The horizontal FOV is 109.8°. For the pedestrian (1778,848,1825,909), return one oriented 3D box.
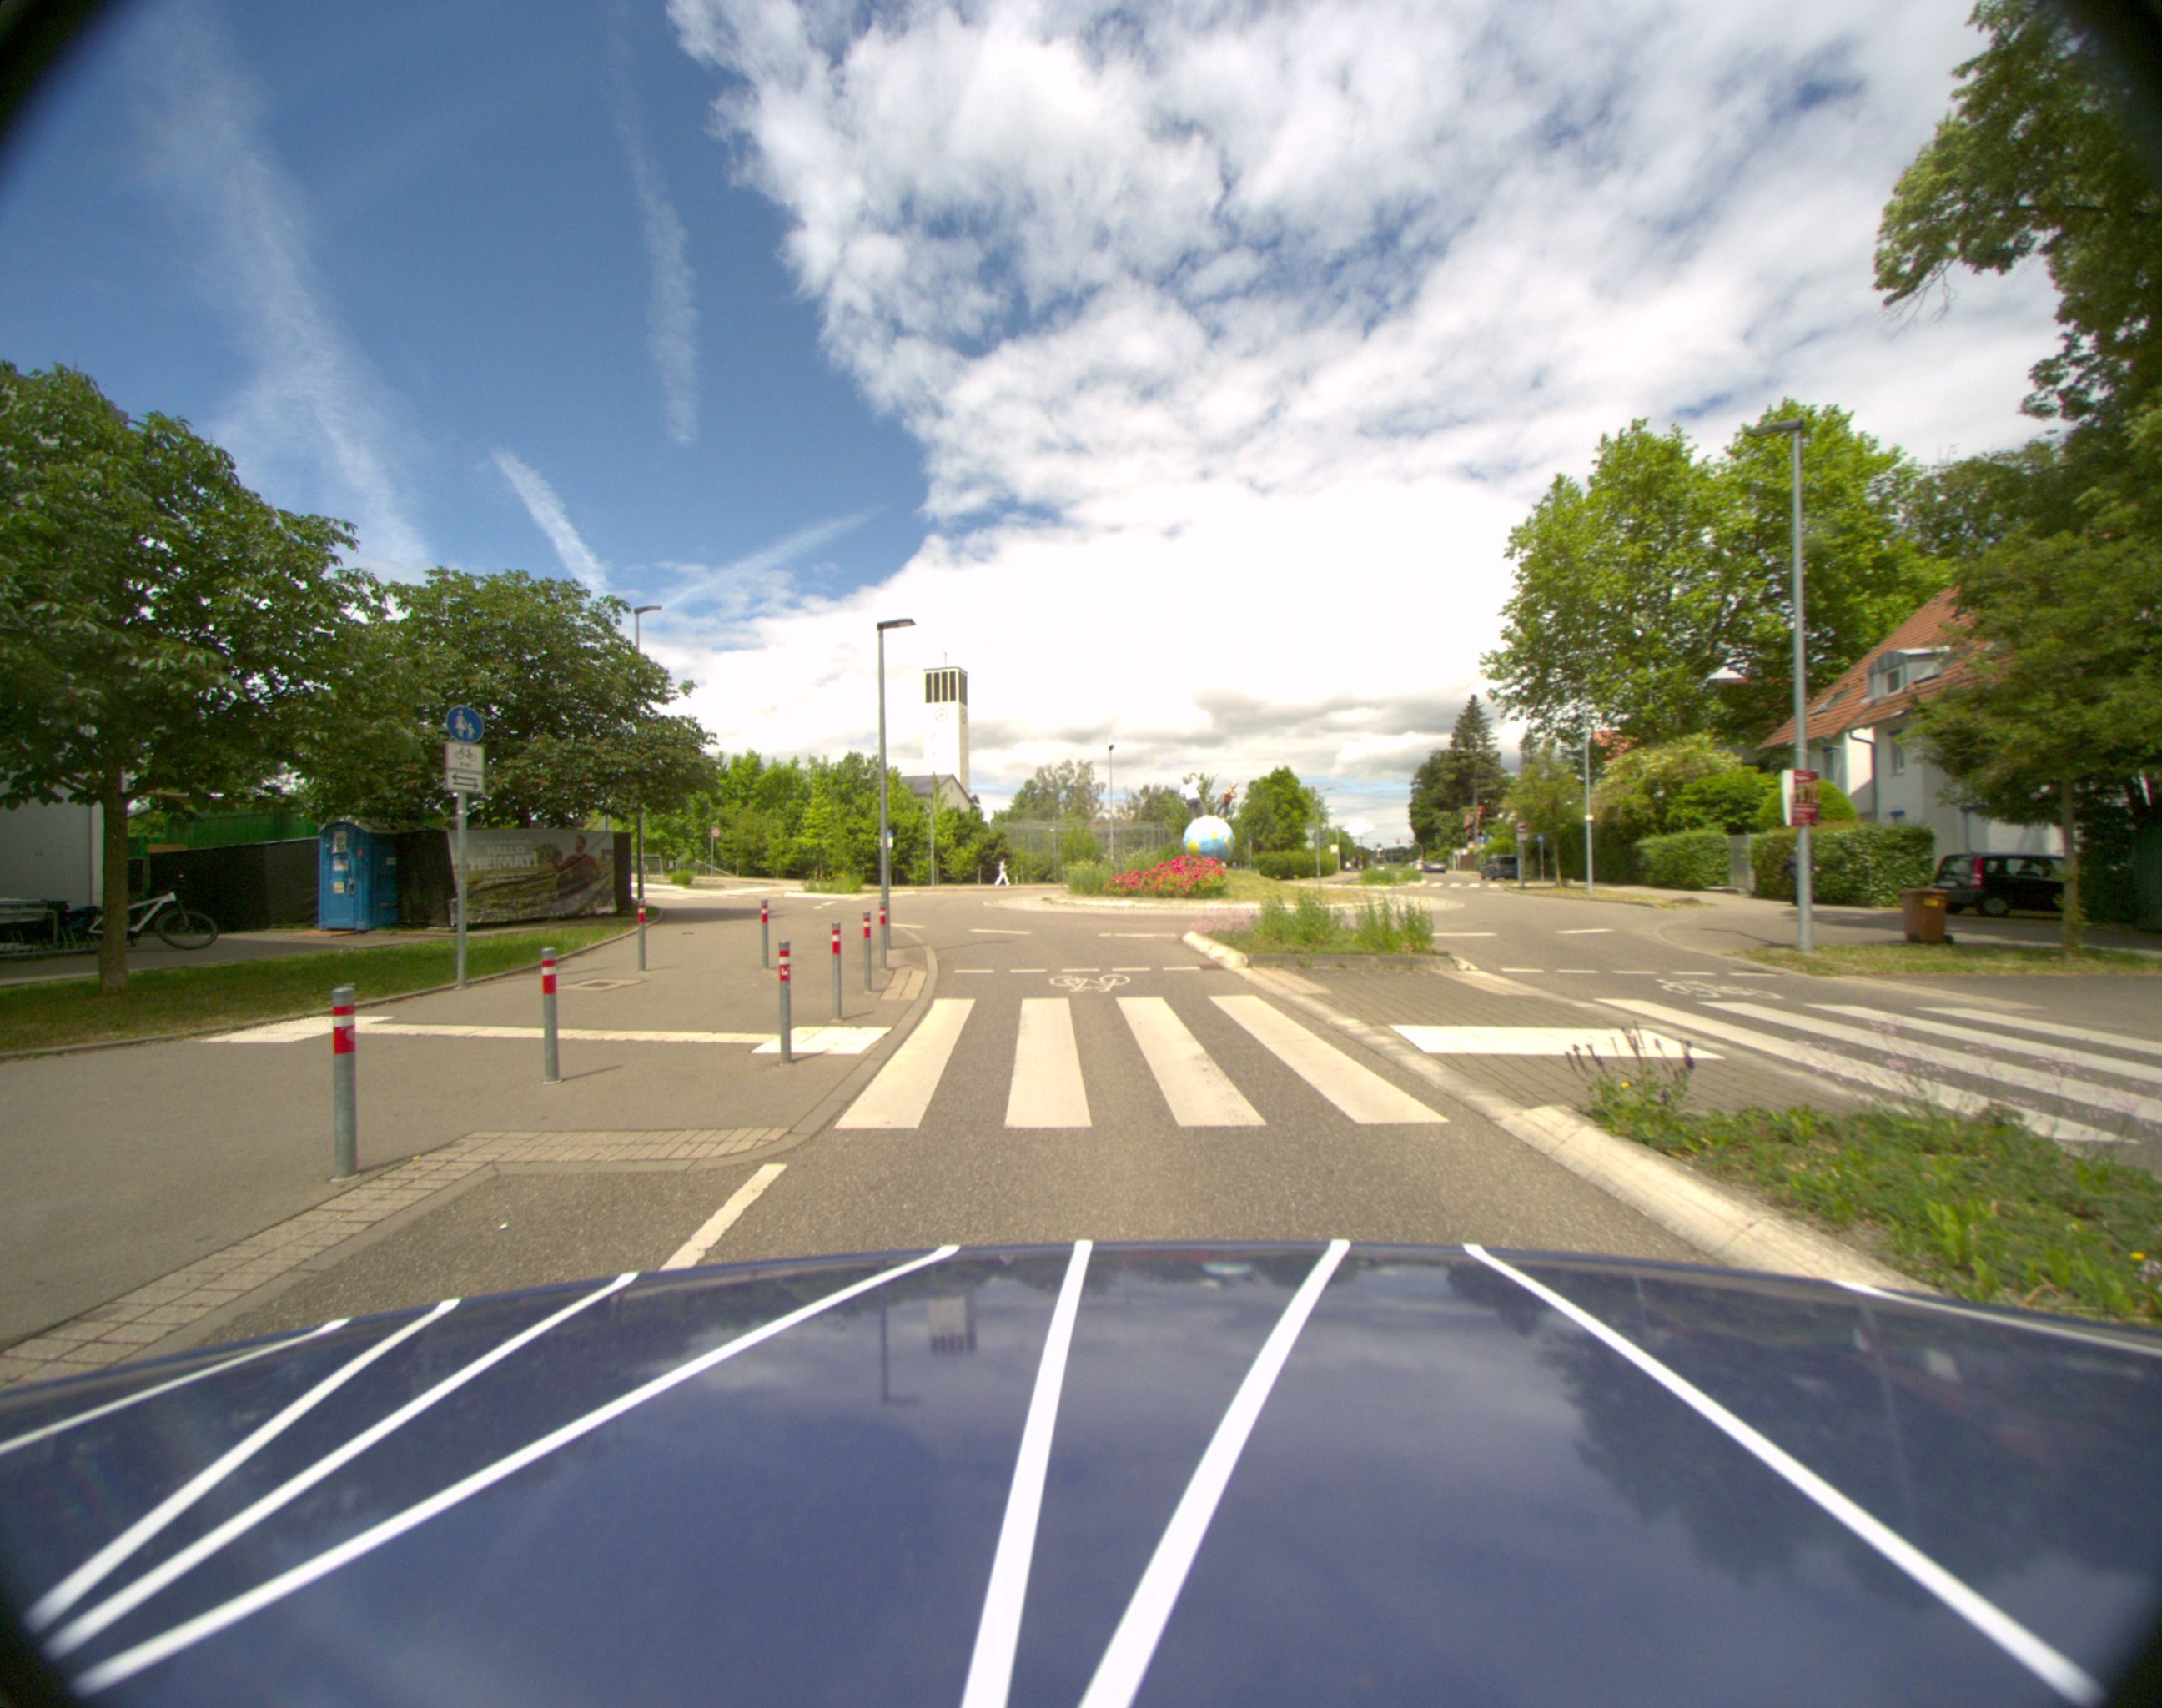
[{"bbox_3d":[20.243,0.681,21.364,0.744,1.681,0.695,-2,1,22],"label":"pedestrian"}]

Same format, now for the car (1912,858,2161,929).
[{"bbox_3d":[22.159,0.851,17.566,3.570,1.389,1.668,2,2,21],"label":"car"}]

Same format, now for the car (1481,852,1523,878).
[{"bbox_3d":[28.559,0.715,51.652,1.678,1.652,4.005,-1,0,17],"label":"car"}]

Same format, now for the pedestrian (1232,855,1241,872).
[{"bbox_3d":[14.223,0.902,69.428,0.764,1.548,0.602,0,1,3],"label":"pedestrian"}]

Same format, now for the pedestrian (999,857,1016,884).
[{"bbox_3d":[-4.125,0.915,42.894,0.457,1.524,0.965,-2,0,28],"label":"pedestrian"}]

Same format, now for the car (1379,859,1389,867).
[{"bbox_3d":[66.692,2.061,167.106,1.995,1.696,4.006,0,0,22],"label":"car"}]

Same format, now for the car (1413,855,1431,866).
[{"bbox_3d":[52.788,0.973,117.669,1.996,1.696,4.005,0,0,16],"label":"car"}]

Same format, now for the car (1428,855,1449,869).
[{"bbox_3d":[41.654,0.906,88.558,1.859,1.568,4.006,-2,0,21],"label":"car"}]

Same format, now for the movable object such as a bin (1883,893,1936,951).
[{"bbox_3d":[13.770,1.121,12.631,0.441,0.929,0.412,0,1,-8],"label":"movable object such as a bin"}]

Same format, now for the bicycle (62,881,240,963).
[{"bbox_3d":[-15.461,1.100,12.684,1.773,1.227,0.714,-2,0,-13],"label":"bicycle"}]
